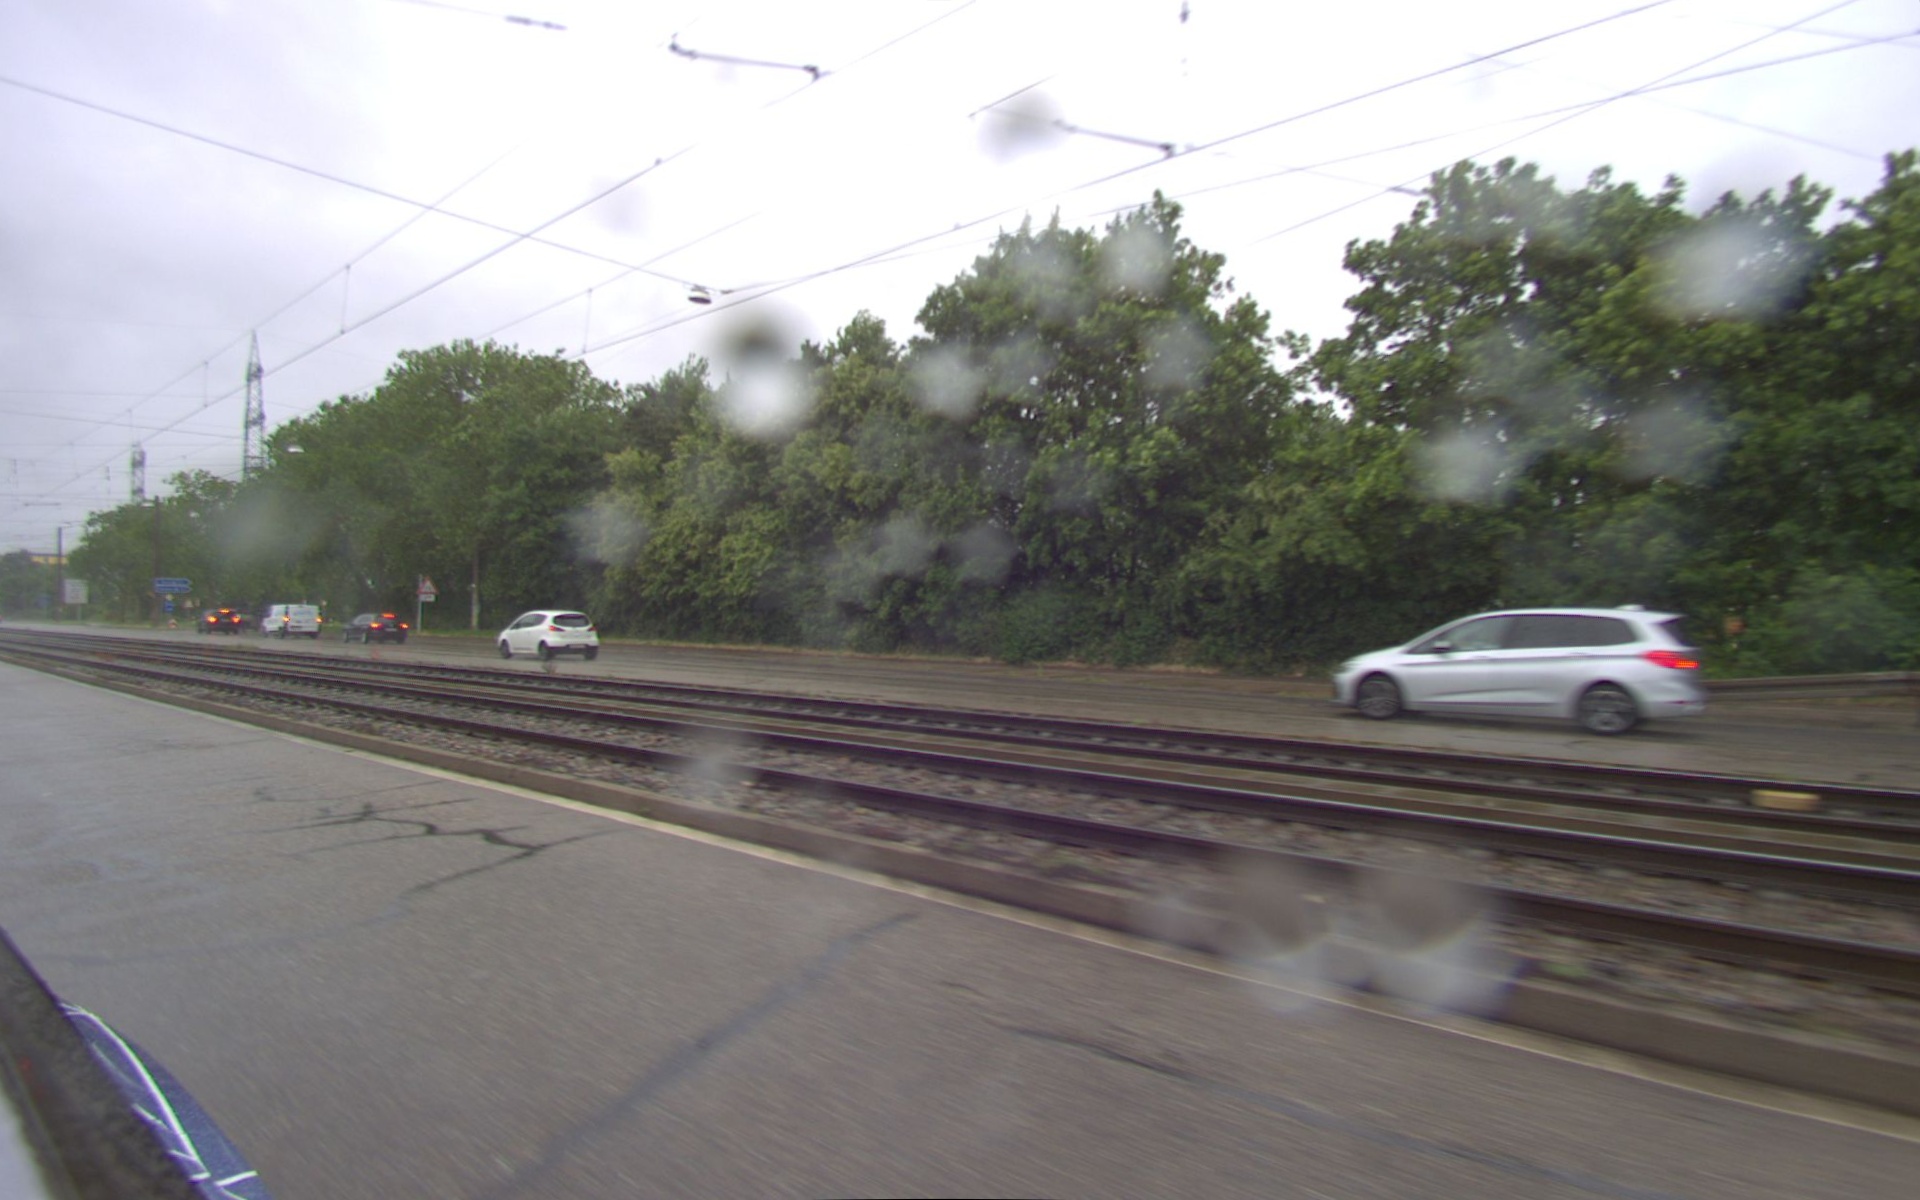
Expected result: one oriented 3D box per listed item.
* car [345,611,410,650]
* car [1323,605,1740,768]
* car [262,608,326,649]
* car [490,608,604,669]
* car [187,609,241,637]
[{"bbox_3d":[-28.303,1.451,49.135,3.673,1.642,1.753,0,3,45],"label":"car"},{"bbox_3d":[7.579,0.995,13.711,4.659,1.723,1.814,0,3,41],"label":"car"},{"bbox_3d":[-38.987,1.612,59.210,4.146,2.119,2.162,0,3,43],"label":"car"},{"bbox_3d":[-12.838,1.132,31.364,3.669,1.642,1.755,0,3,41],"label":"car"},{"bbox_3d":[-50.817,1.533,68.889,4.146,1.710,2.162,0,3,43],"label":"car"}]
